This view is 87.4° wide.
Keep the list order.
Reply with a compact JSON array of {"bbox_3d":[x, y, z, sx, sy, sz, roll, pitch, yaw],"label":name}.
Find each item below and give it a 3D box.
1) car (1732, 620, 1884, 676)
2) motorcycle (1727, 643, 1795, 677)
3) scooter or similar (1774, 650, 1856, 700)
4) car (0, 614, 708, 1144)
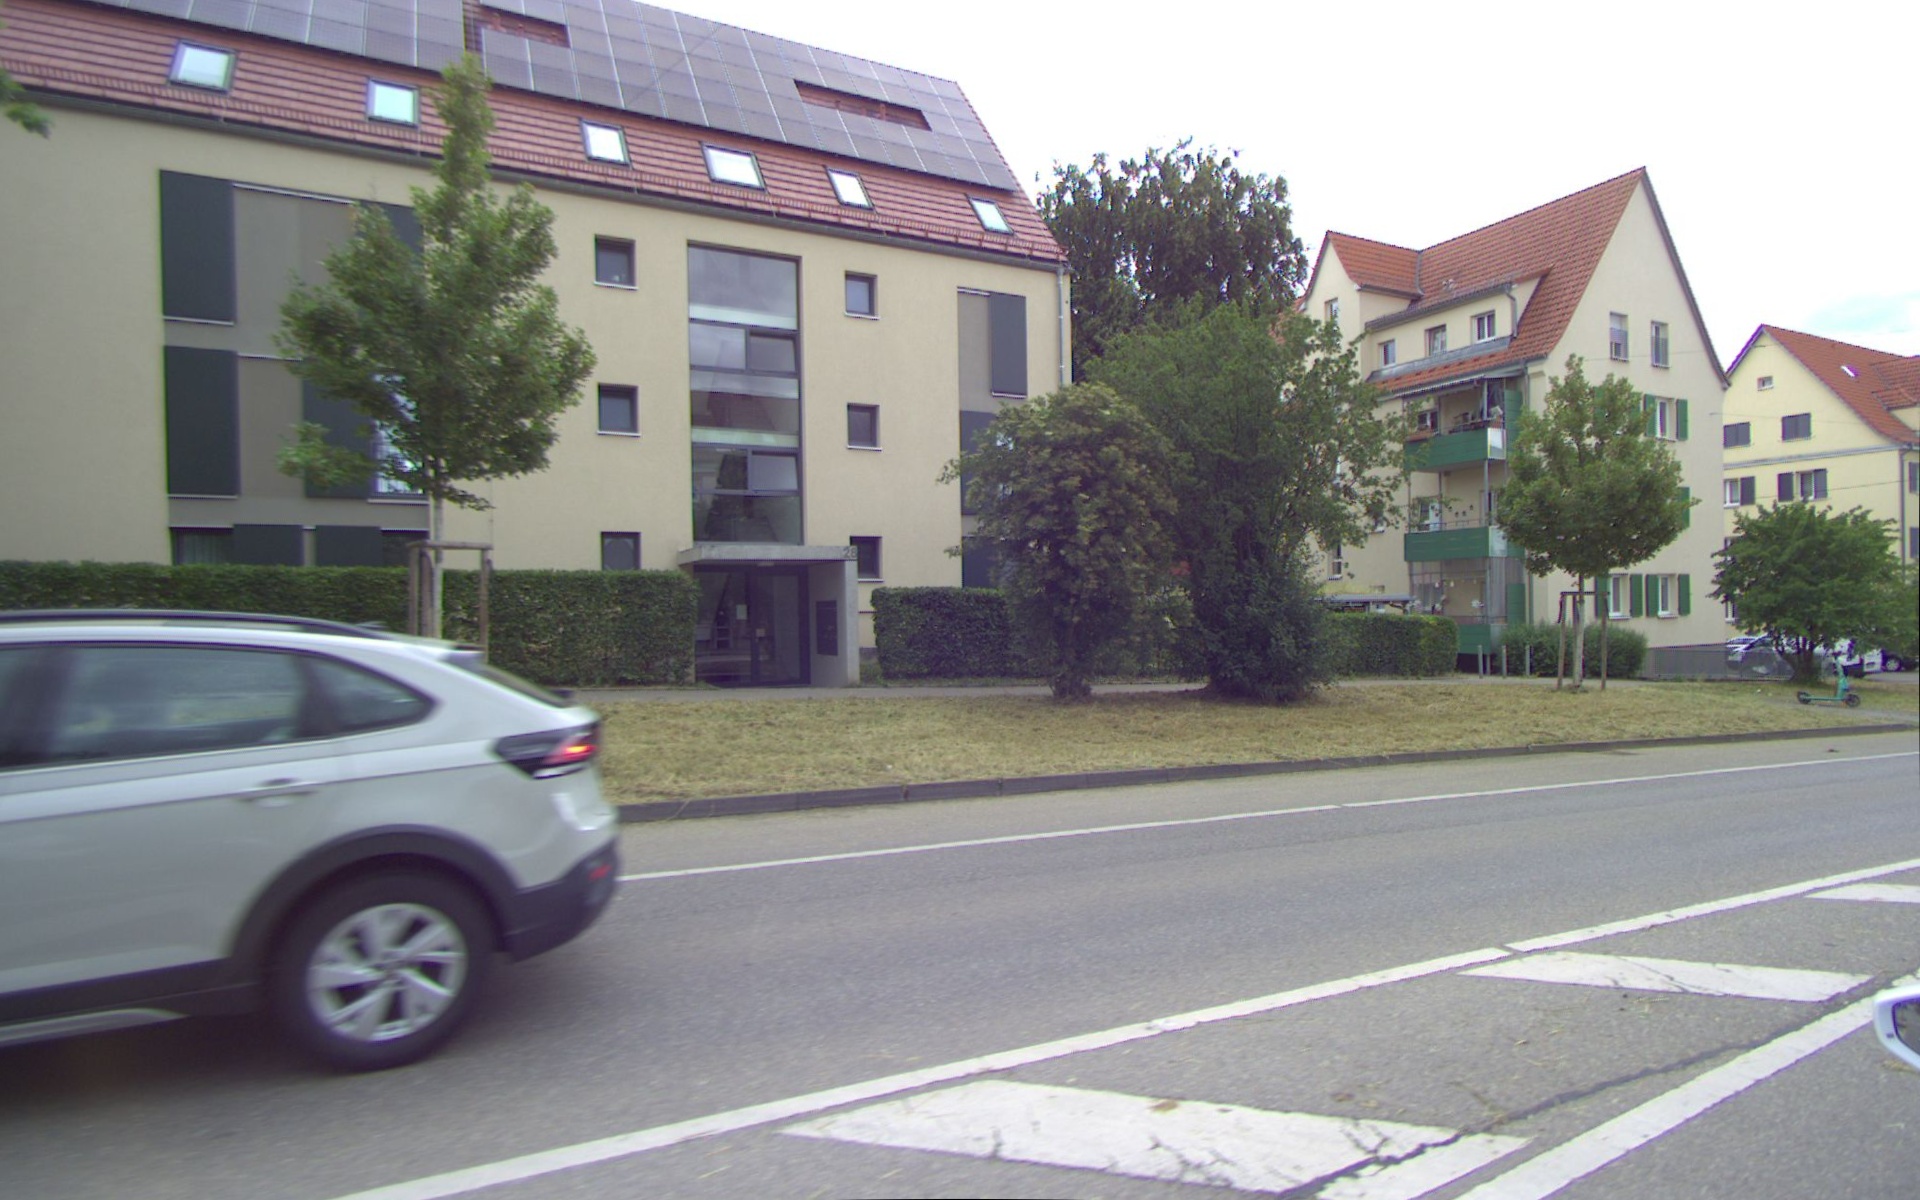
[{"bbox_3d":[36.991,2.051,43.967,1.969,2.283,4.702,2,-1,-26],"label":"car"},{"bbox_3d":[33.751,2.500,42.376,0.996,1.296,2.607,1,-1,6],"label":"motorcycle"},{"bbox_3d":[19.705,1.711,23.163,0.461,1.100,1.363,1,-2,-31],"label":"scooter or similar"},{"bbox_3d":[-3.115,0.813,3.621,3.980,1.483,1.795,1,-3,-29],"label":"car"}]
